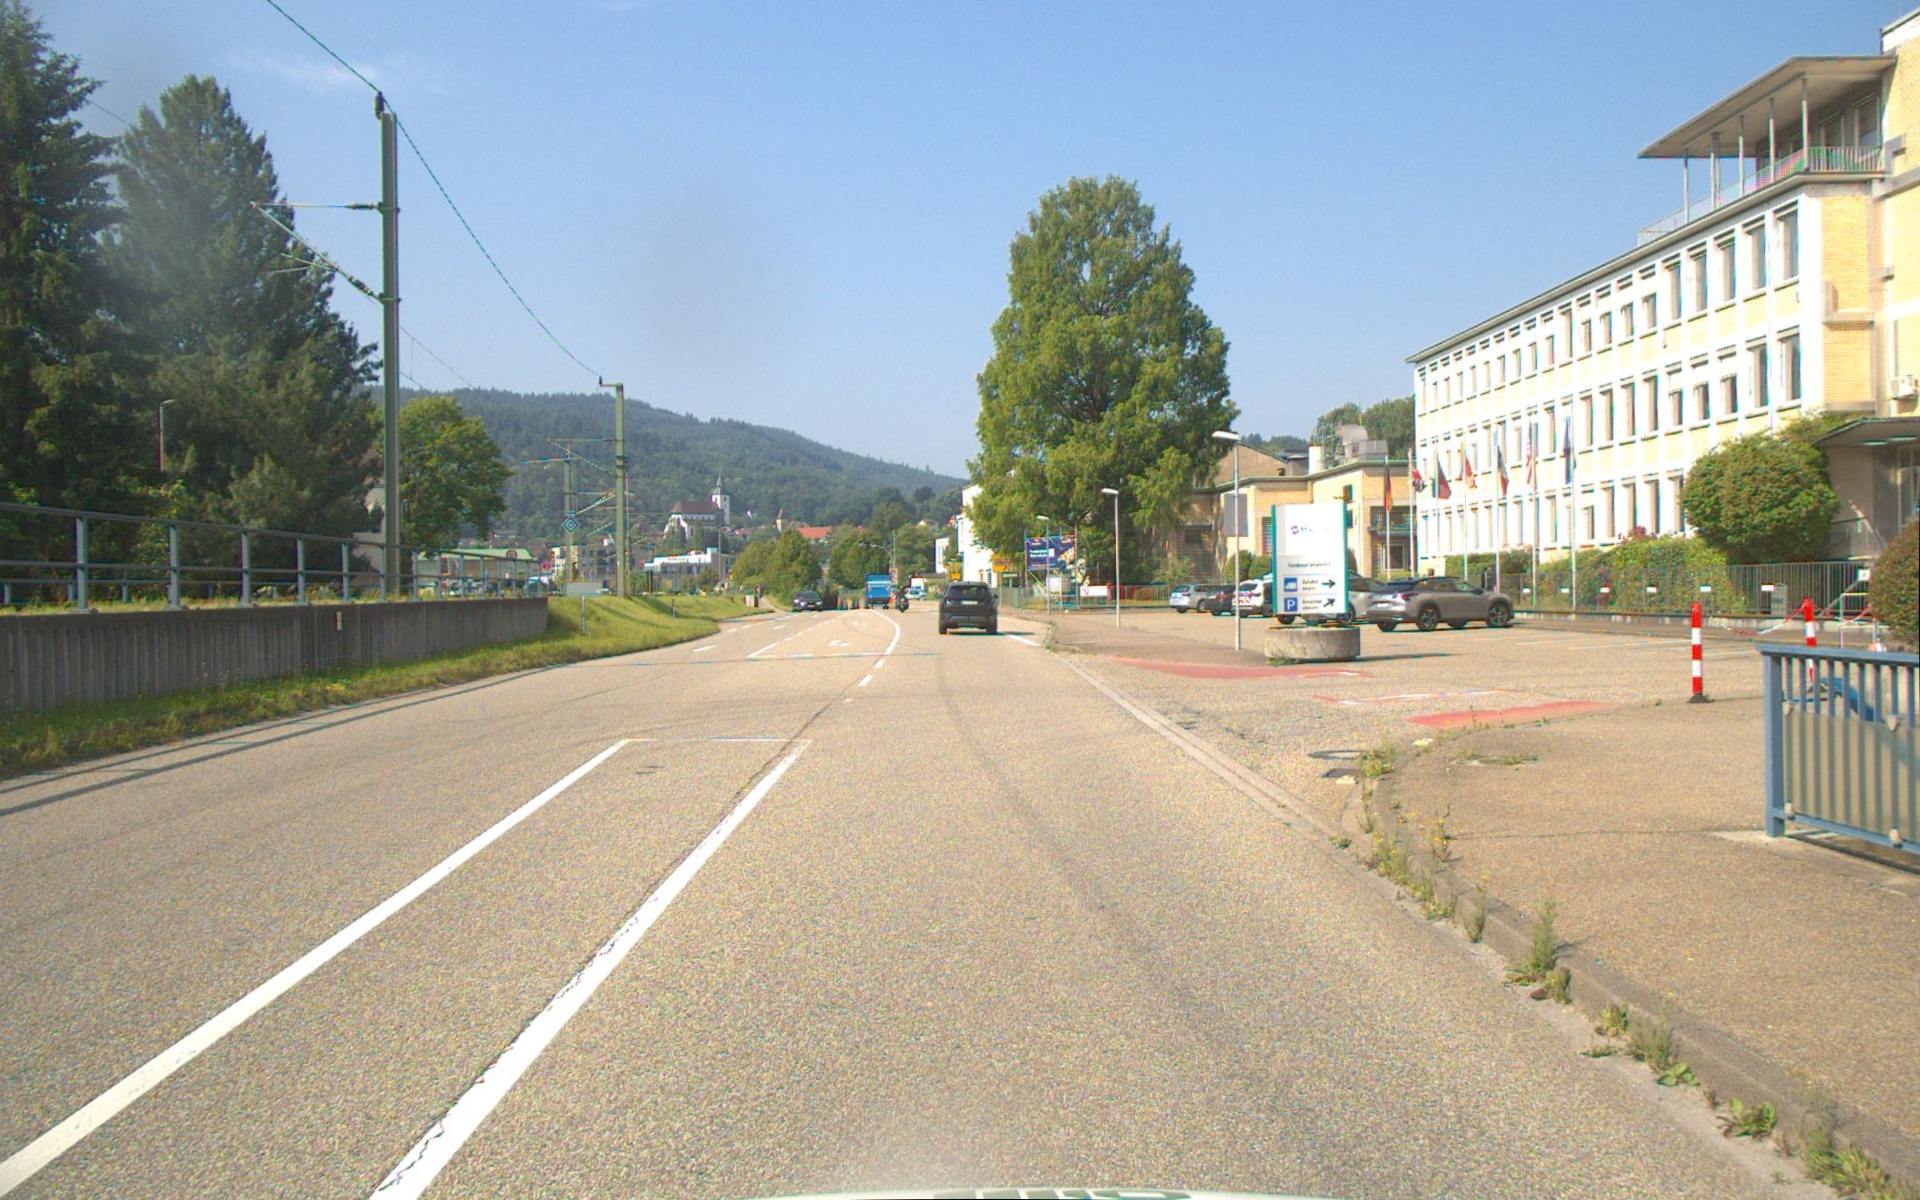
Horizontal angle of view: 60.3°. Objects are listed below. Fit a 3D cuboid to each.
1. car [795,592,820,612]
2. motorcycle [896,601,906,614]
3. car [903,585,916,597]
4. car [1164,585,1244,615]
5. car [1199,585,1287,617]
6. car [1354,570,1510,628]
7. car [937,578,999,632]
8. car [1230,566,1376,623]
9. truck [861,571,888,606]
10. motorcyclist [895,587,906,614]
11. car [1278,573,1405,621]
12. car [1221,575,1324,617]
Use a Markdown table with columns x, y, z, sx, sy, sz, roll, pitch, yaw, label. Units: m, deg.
| x | y | z | sx | sy | sz | roll | pitch | yaw | label |
| --- | --- | --- | --- | --- | --- | --- | --- | --- | --- |
| -11.233 | 0.124 | 121.836 | 1.721 | 1.454 | 3.996 | -1 | 0 | -4 | car |
| -3.444 | 0.431 | 96.948 | 0.594 | 0.766 | 1.414 | -1 | 0 | -2 | motorcycle |
| -6.741 | -1.201 | 221.029 | 1.731 | 1.512 | 3.999 | 0 | 0 | -1 | car |
| 12.379 | -0.004 | 83.901 | 3.950 | 1.425 | 1.645 | -1 | 0 | -33 | car |
| 12.984 | 0.030 | 75.836 | 3.950 | 1.425 | 1.645 | -1 | 0 | -33 | car |
| 13.415 | -0.042 | 46.951 | 4.253 | 1.531 | 1.867 | -1 | 0 | -31 | car |
| 0.247 | 0.143 | 53.207 | 1.880 | 1.668 | 4.000 | -1 | 0 | 0 | car |
| 12.031 | -0.217 | 57.906 | 4.969 | 1.864 | 1.962 | -1 | 0 | -31 | car |
| -7.687 | -1.015 | 148.327 | 2.267 | 3.022 | 5.960 | -1 | 1 | -4 | truck |
| -3.473 | 0.022 | 96.952 | 0.594 | 1.547 | 0.863 | -1 | 0 | -2 | motorcyclist |
| 12.778 | -0.105 | 55.316 | 3.946 | 1.531 | 1.867 | -1 | 0 | -31 | car |
| 13.228 | -0.166 | 69.956 | 4.118 | 1.701 | 1.850 | -1 | 0 | -31 | car |
